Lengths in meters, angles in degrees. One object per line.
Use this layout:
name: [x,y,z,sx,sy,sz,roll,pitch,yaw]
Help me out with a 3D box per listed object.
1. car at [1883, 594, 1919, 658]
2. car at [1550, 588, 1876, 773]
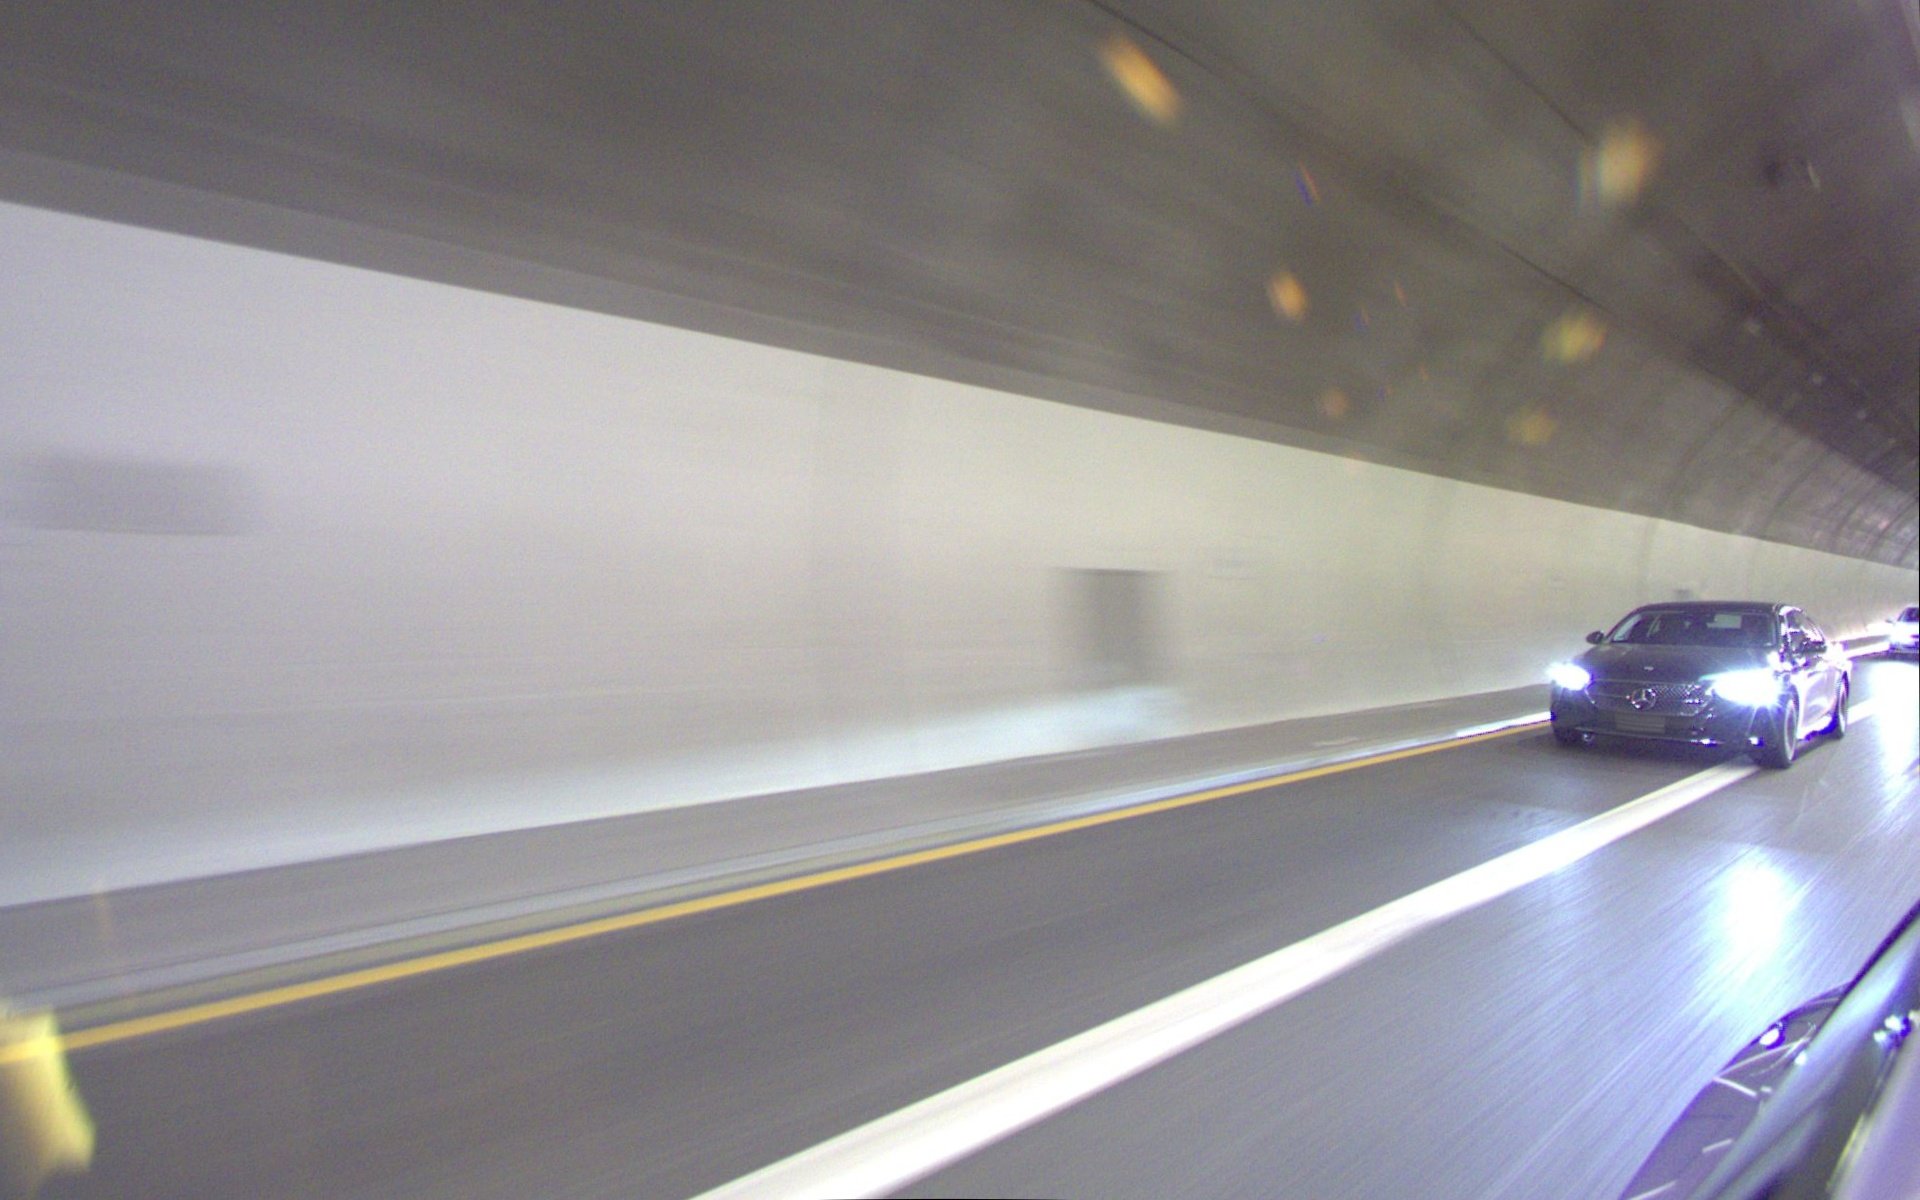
car: [25.894,0.641,26.549,4.660,1.559,1.997,-1,1,-41]
car: [7.900,0.651,10.448,4.443,1.496,1.824,0,1,-41]
